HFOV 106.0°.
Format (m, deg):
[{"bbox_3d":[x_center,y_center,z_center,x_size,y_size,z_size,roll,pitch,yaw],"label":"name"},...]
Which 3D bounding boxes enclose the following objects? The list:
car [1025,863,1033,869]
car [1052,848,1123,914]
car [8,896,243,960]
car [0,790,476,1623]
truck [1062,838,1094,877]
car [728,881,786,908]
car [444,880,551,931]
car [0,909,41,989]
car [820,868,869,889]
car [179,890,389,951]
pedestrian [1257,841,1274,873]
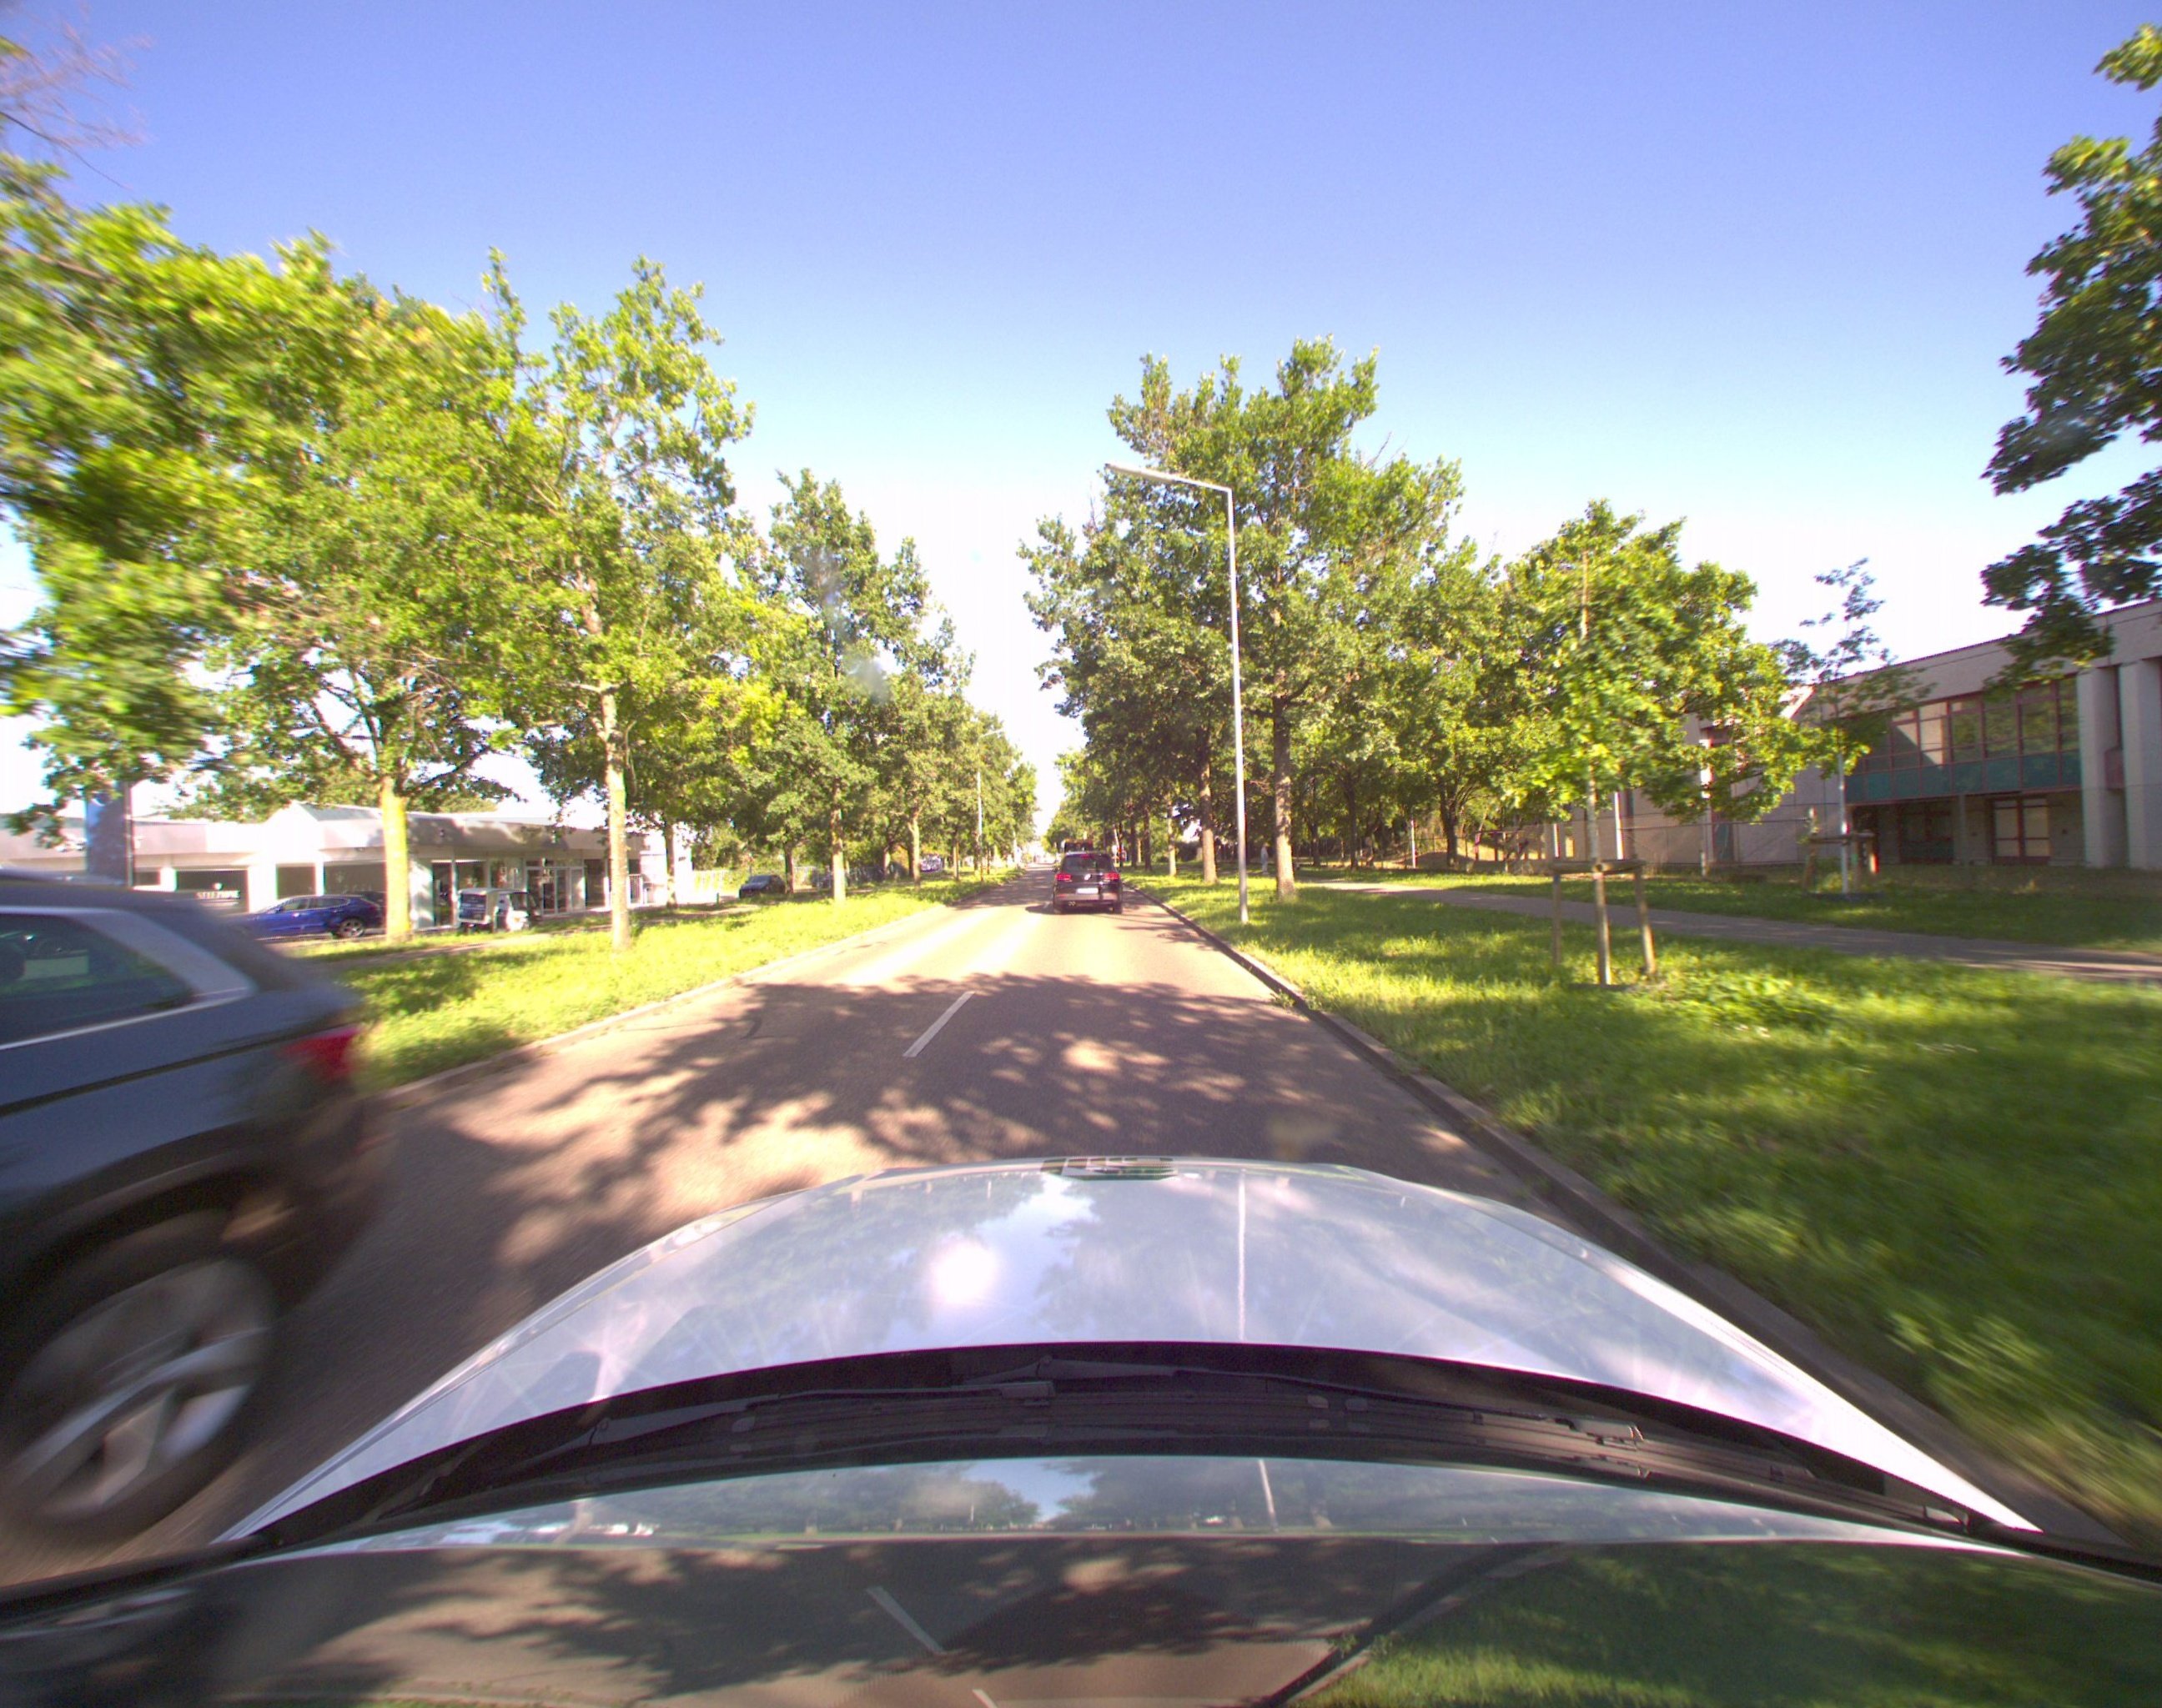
[{"bbox_3d":[-13.301,2.968,208.329,1.560,1.504,3.999,-1,-1,0],"label":"car"},{"bbox_3d":[0.109,0.699,22.527,1.777,1.633,3.997,-1,-1,-2],"label":"car"},{"bbox_3d":[-33.571,2.516,28.836,1.975,1.660,5.041,-1,1,27],"label":"car"},{"bbox_3d":[-3.087,0.746,0.795,1.762,1.672,4.198,-3,-1,0],"label":"car"},{"bbox_3d":[-0.367,0.297,73.679,2.506,3.243,8.145,-2,0,-2],"label":"truck"},{"bbox_3d":[-21.946,2.718,55.384,1.988,1.598,5.012,-1,0,-1],"label":"car"},{"bbox_3d":[-18.559,1.644,25.928,2.547,1.470,1.432,-2,0,16],"label":"car"},{"bbox_3d":[-23.904,2.070,15.984,1.997,1.675,4.475,0,-1,-16],"label":"car"},{"bbox_3d":[-21.605,2.197,74.450,3.985,1.802,1.994,0,-1,-8],"label":"car"},{"bbox_3d":[-29.235,2.364,30.072,1.974,1.660,5.294,-1,1,38],"label":"car"},{"bbox_3d":[9.653,0.159,42.589,0.711,1.631,0.612,-4,0,17],"label":"pedestrian"}]
